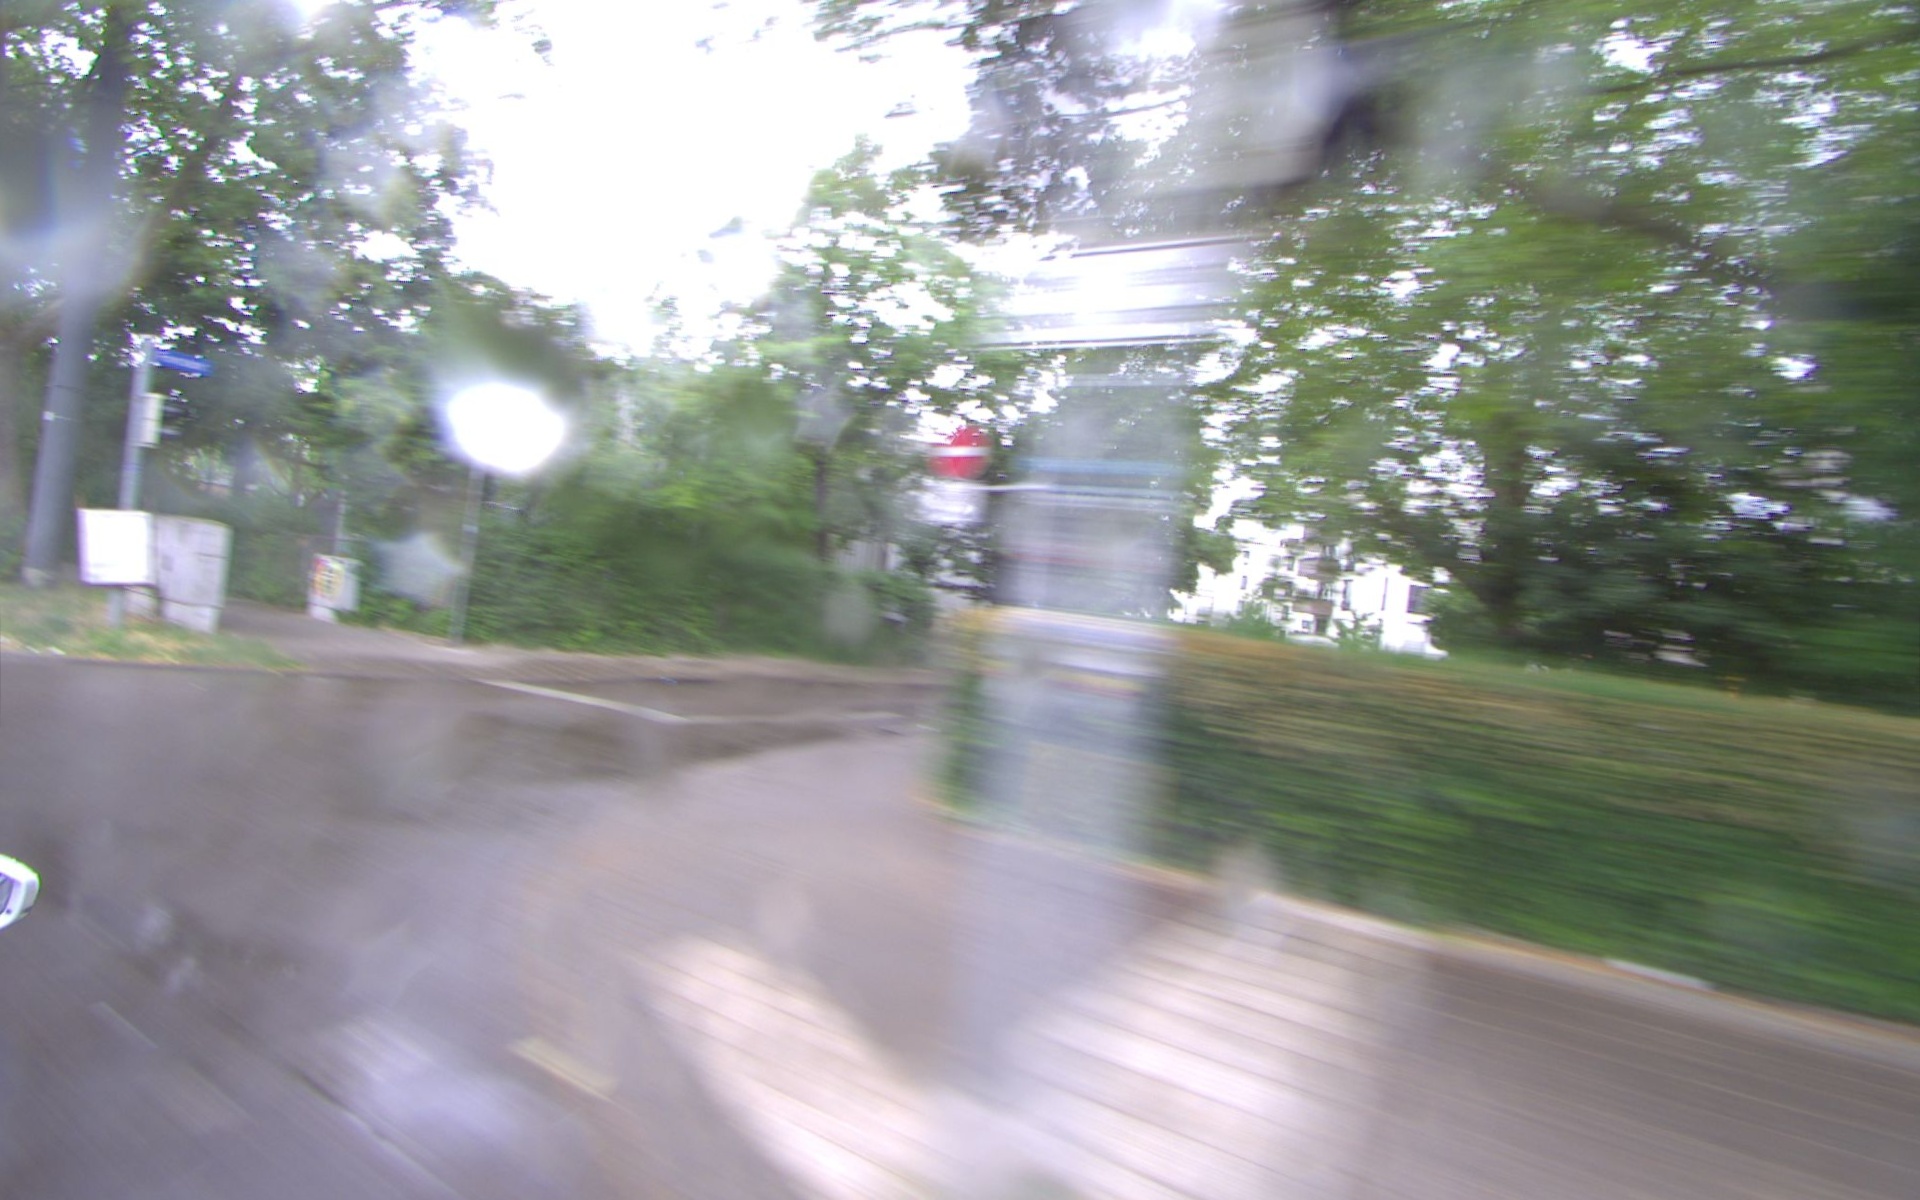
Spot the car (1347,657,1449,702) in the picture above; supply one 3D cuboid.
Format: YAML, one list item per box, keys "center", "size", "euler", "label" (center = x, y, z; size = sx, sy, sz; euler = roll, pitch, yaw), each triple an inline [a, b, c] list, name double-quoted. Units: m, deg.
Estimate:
- center: [26.672, 4.810, 61.363]
  size: [5.044, 2.037, 2.256]
  euler: [7, -2, -1]
  label: "car"

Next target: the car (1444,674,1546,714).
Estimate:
- center: [33.056, 5.795, 62.254]
  size: [5.044, 1.722, 2.256]
  euler: [7, -2, -1]
  label: "car"

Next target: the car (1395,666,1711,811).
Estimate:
- center: [9.050, 2.066, 15.722]
  size: [3.930, 1.558, 1.760]
  euler: [6, -2, 27]
  label: "car"
